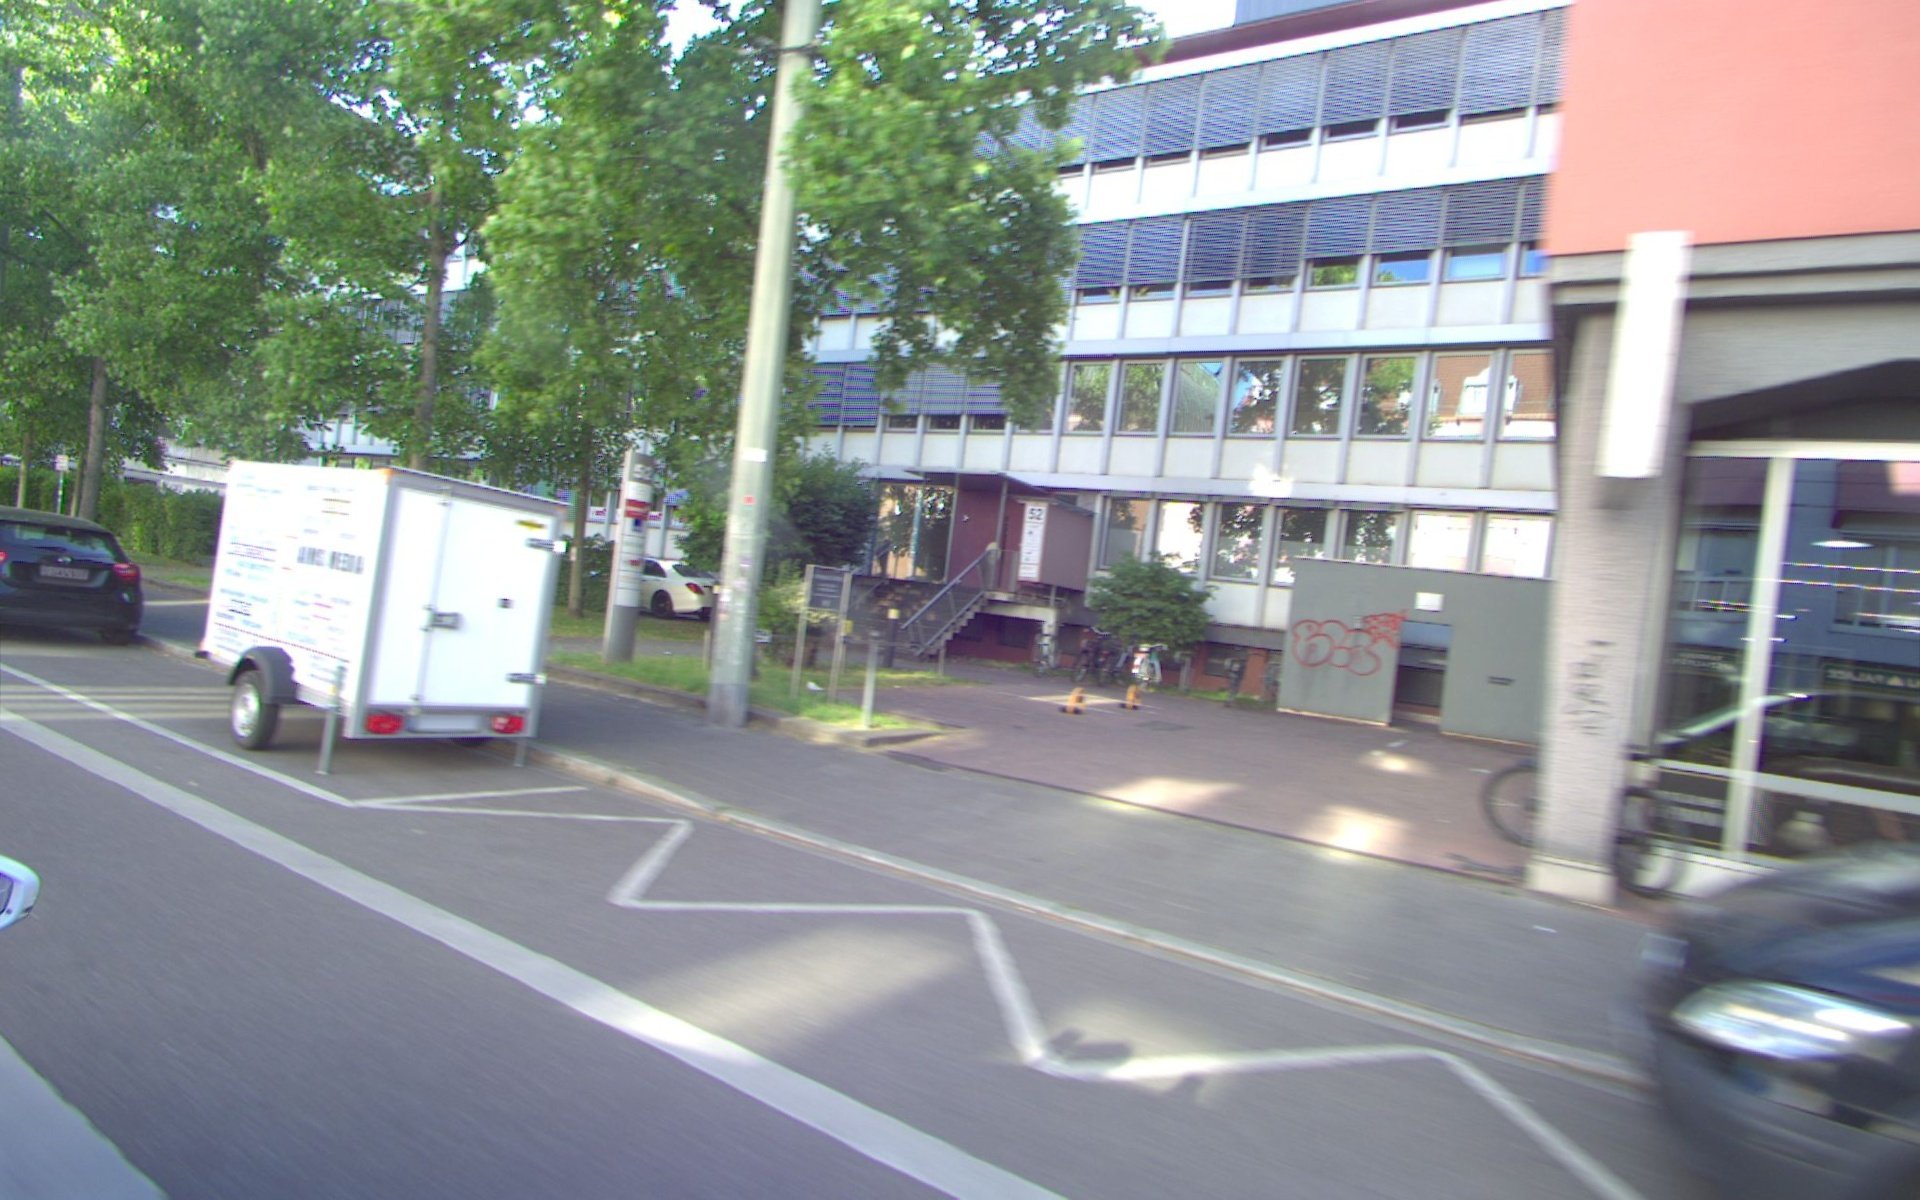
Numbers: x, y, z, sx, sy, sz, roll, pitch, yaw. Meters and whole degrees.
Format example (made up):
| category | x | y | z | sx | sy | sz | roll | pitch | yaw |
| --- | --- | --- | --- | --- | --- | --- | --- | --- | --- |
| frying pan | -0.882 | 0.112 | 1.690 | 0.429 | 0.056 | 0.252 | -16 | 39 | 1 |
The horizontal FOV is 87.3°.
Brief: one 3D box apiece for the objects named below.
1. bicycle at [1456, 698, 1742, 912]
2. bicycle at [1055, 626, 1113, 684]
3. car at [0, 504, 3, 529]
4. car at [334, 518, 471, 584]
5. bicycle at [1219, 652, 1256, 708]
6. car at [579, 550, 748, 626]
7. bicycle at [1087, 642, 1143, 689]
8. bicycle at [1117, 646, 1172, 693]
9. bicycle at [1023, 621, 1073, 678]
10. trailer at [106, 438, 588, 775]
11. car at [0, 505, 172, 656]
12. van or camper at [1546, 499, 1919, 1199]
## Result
| category | x | y | z | sx | sy | sz | roll | pitch | yaw |
| --- | --- | --- | --- | --- | --- | --- | --- | --- | --- |
| bicycle | 4.628 | 1.436 | 7.476 | 0.421 | 1.147 | 1.874 | 6 | 1 | -16 |
| bicycle | 2.608 | 1.155 | 21.098 | 0.442 | 1.140 | 1.583 | 7 | 2 | 33 |
| car | -15.568 | -0.888 | 14.537 | 4.249 | 1.460 | 1.750 | 7 | -1 | 37 |
| car | -18.099 | -1.595 | 32.625 | 4.235 | 1.556 | 1.793 | 8 | 1 | 29 |
| bicycle | 5.489 | 1.556 | 19.842 | 0.441 | 0.975 | 1.587 | 7 | 1 | 21 |
| car | -7.707 | -0.311 | 26.143 | 3.928 | 1.482 | 1.794 | 6 | 0 | 25 |
| bicycle | 3.223 | 1.339 | 20.811 | 0.442 | 0.887 | 1.583 | 7 | 2 | 33 |
| bicycle | 3.800 | 1.418 | 20.672 | 0.442 | 0.887 | 1.583 | 7 | 2 | 33 |
| bicycle | 1.911 | 1.056 | 21.688 | 0.441 | 1.129 | 1.585 | 7 | 2 | 26 |
| trailer | -5.013 | -0.042 | 8.095 | 3.780 | 2.141 | 1.663 | 6 | -2 | 33 |
| car | -11.442 | -0.378 | 11.889 | 4.251 | 1.451 | 1.807 | 6 | -3 | 31 |
| van or camper | 4.332 | 1.132 | 2.017 | 5.241 | 2.069 | 1.975 | 7 | -2 | 30 |
